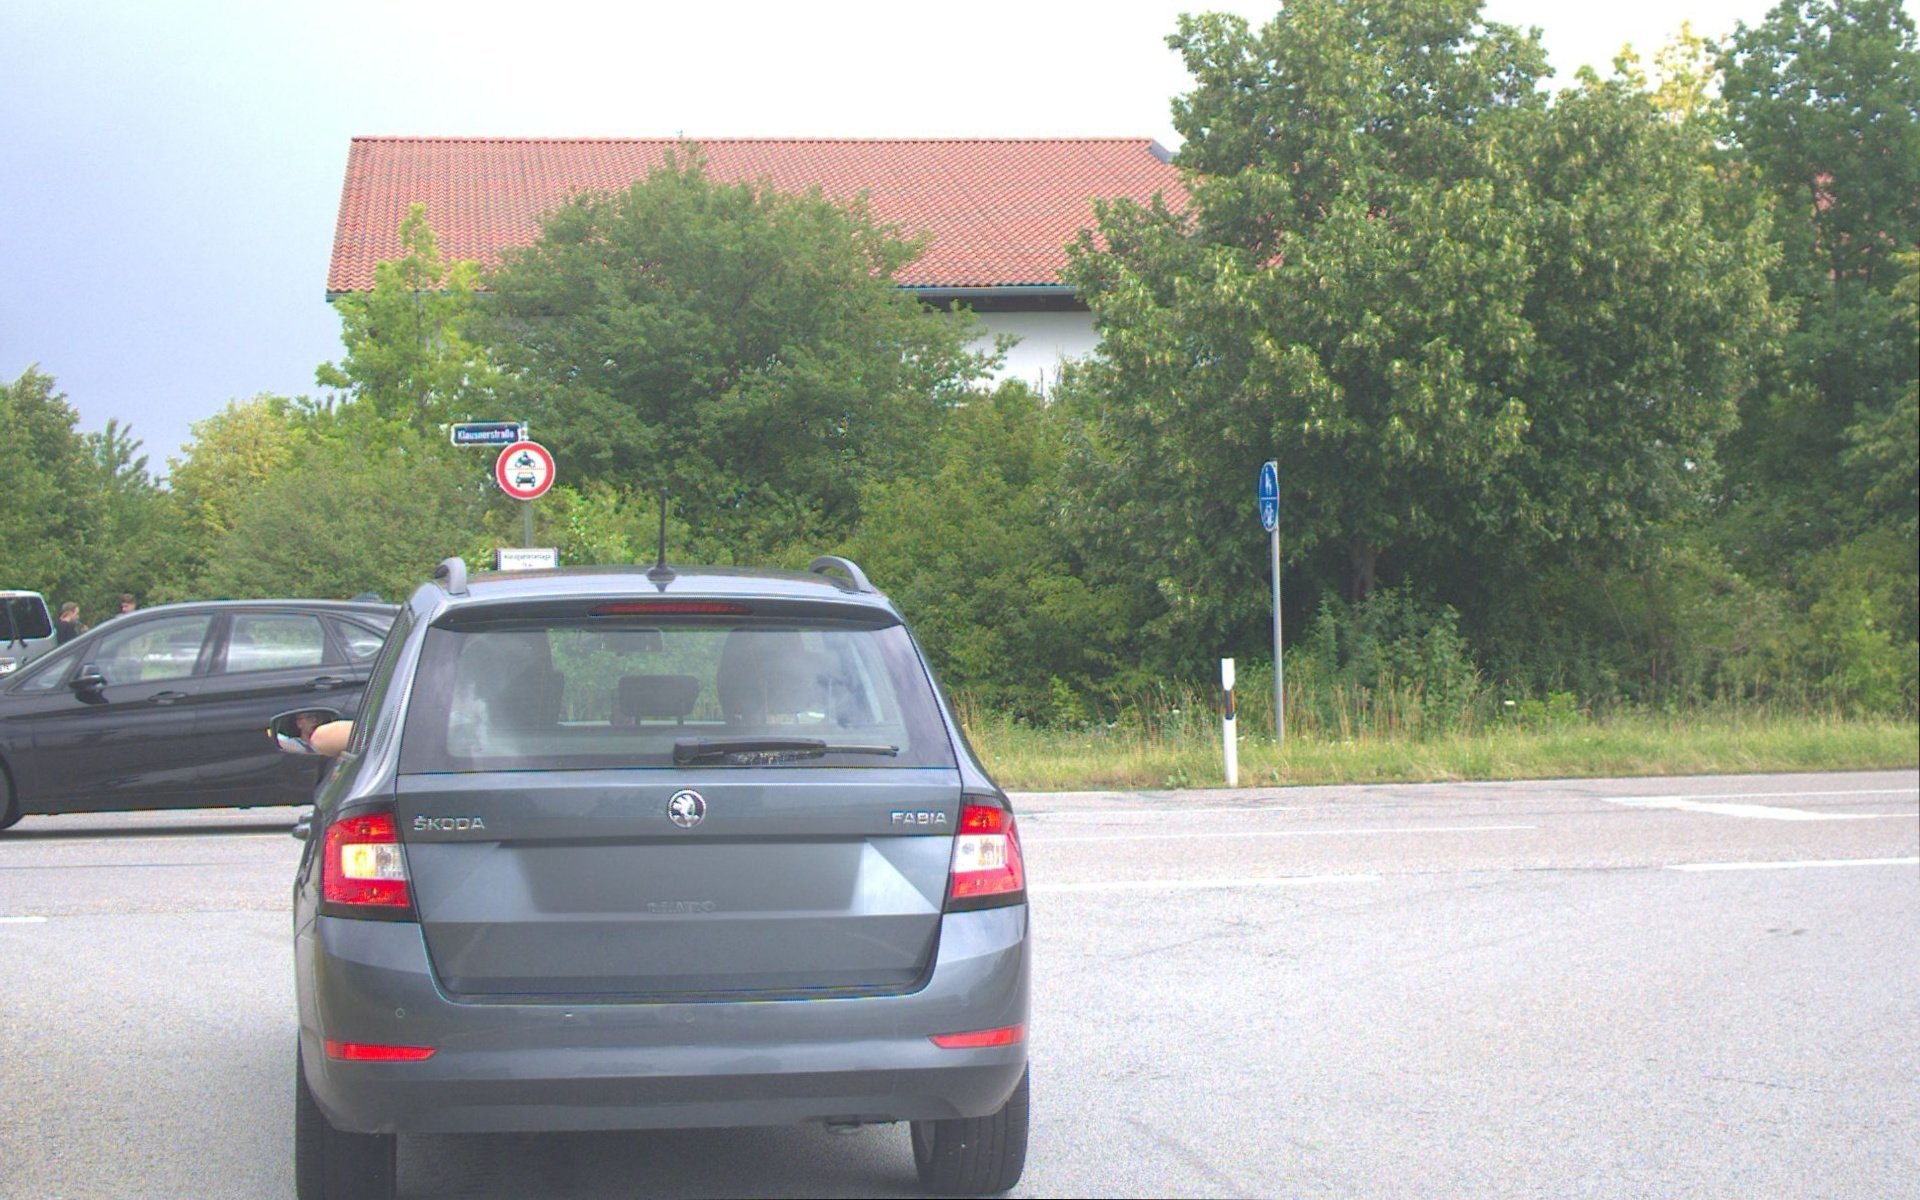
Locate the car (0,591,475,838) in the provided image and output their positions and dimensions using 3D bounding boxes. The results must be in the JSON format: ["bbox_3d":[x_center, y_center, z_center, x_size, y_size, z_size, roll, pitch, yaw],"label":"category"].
[{"bbox_3d":[-5.460,0.755,23.130,4.286,1.482,2.000,-2,0,-9],"label":"car"}]

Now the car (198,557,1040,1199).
[{"bbox_3d":[-0.912,0.638,8.741,1.676,1.458,3.708,0,0,-7],"label":"car"}]

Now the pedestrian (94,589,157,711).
[{"bbox_3d":[-11.633,0.693,47.943,0.584,1.677,0.565,-1,1,19],"label":"pedestrian"}]

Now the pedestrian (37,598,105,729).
[{"bbox_3d":[-11.945,0.844,46.196,0.529,1.720,0.640,-1,2,30],"label":"pedestrian"}]

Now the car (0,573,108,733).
[{"bbox_3d":[-14.212,0.716,46.589,4.907,2.006,2.338,-1,2,31],"label":"car"}]
